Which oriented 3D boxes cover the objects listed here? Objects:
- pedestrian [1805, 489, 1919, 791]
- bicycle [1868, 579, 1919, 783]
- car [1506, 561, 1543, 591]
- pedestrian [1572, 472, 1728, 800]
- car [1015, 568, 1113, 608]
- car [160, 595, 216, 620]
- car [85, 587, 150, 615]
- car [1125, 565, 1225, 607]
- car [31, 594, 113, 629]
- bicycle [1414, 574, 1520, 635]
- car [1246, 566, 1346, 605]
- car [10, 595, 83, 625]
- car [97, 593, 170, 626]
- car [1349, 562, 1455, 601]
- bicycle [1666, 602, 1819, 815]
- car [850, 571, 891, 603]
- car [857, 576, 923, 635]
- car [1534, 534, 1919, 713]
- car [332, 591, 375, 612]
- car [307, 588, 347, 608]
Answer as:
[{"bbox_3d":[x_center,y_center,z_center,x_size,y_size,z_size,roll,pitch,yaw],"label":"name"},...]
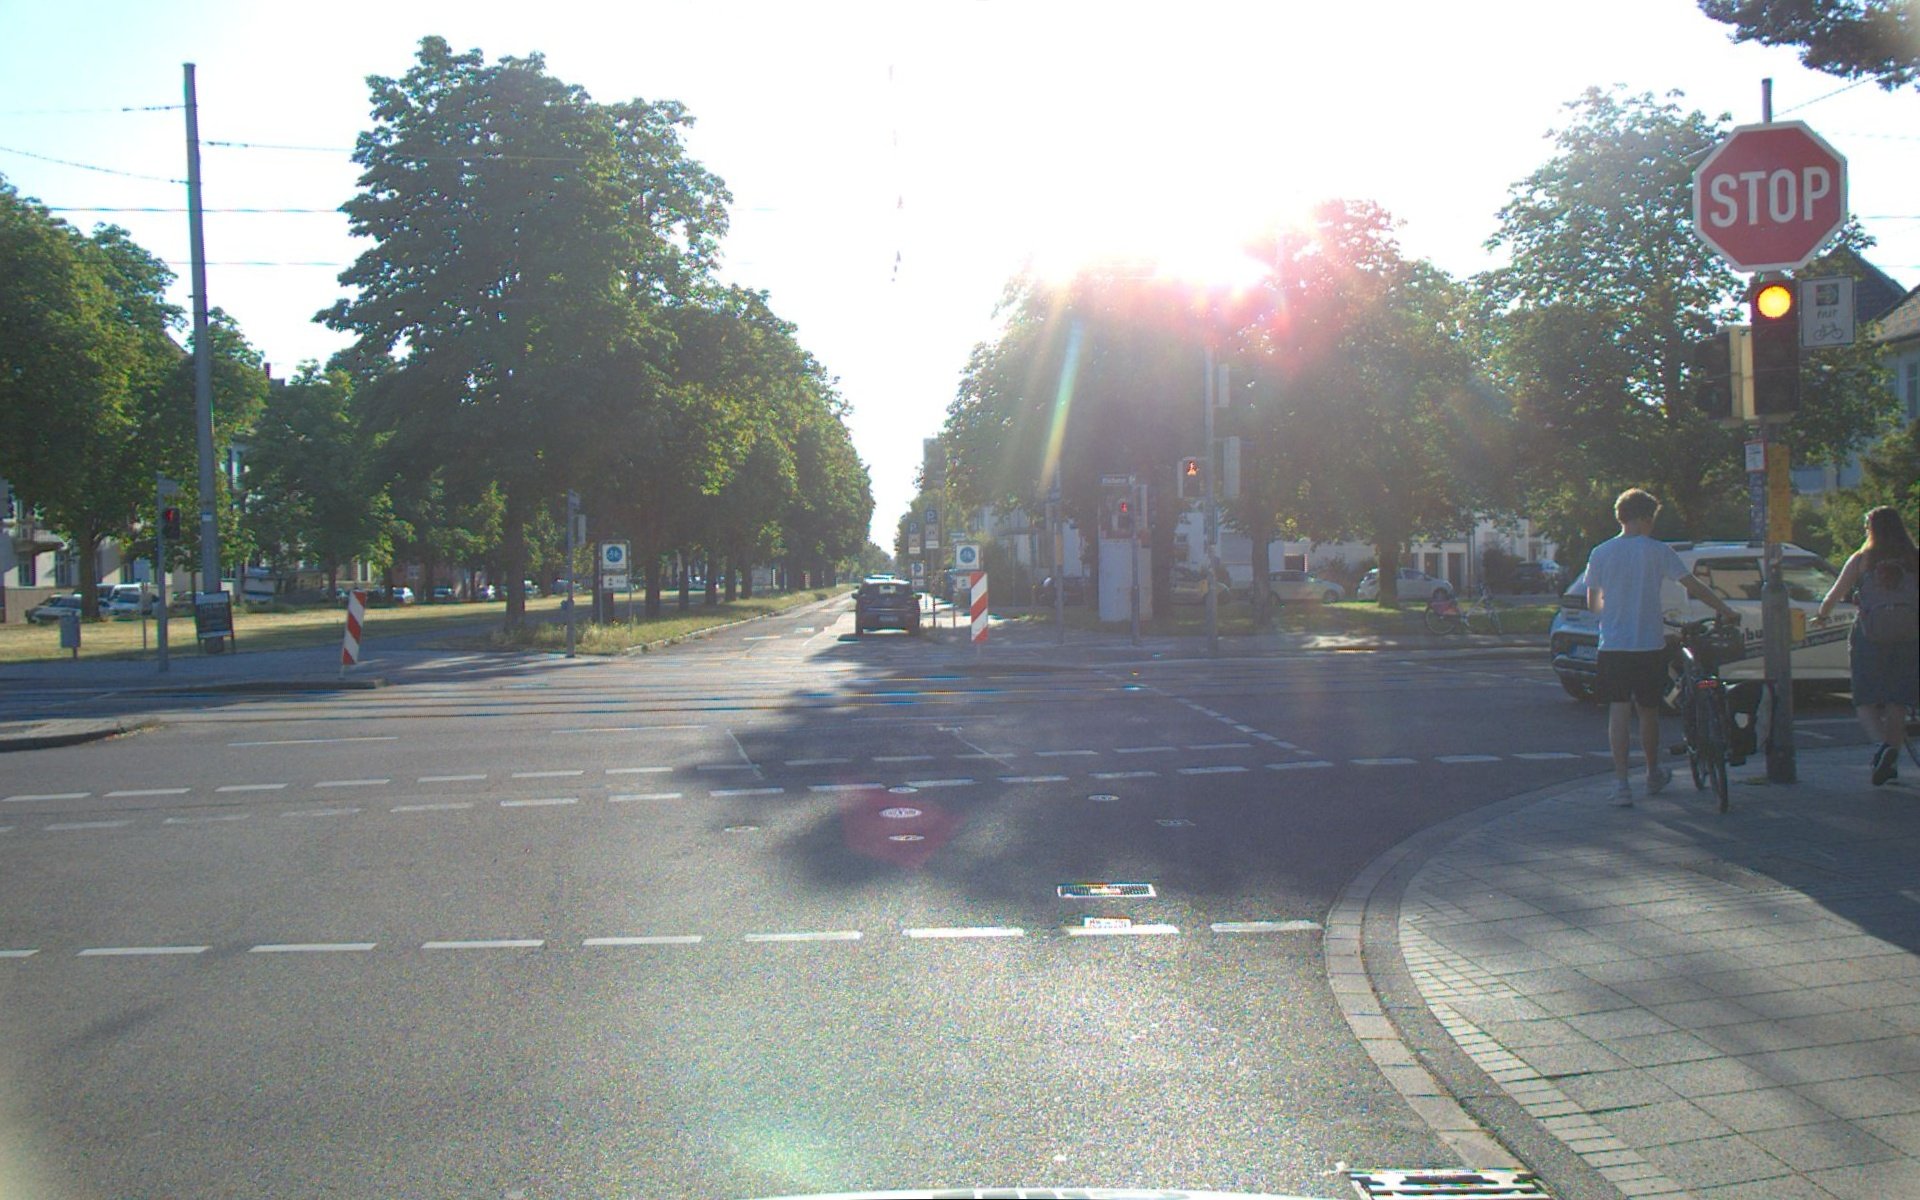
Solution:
[{"bbox_3d":[5.551,0.223,9.926,0.655,1.737,0.623,-4,1,17],"label":"pedestrian"},{"bbox_3d":[5.883,0.473,9.815,0.476,1.162,1.599,-3,1,16],"label":"bicycle"},{"bbox_3d":[28.839,-1.226,84.487,1.629,1.442,3.543,-1,1,21],"label":"car"},{"bbox_3d":[4.221,0.220,10.183,0.656,1.897,0.882,-4,-2,16],"label":"pedestrian"},{"bbox_3d":[4.066,-0.492,65.044,3.704,1.452,1.743,-1,2,-3],"label":"car"},{"bbox_3d":[-47.406,0.444,101.597,1.703,1.452,3.791,-1,1,-2],"label":"car"},{"bbox_3d":[-46.505,0.056,91.337,1.703,1.452,3.791,-1,1,-2],"label":"car"},{"bbox_3d":[8.480,-0.584,65.438,3.704,1.552,1.743,-1,2,-3],"label":"car"},{"bbox_3d":[-40.053,0.515,74.660,1.703,1.452,3.791,-1,1,-2],"label":"car"},{"bbox_3d":[10.114,0.085,32.997,1.914,1.152,0.620,-1,0,0],"label":"bicycle"},{"bbox_3d":[13.284,-0.586,65.456,3.593,1.452,1.529,-1,1,-7],"label":"car"},{"bbox_3d":[-47.029,0.490,85.239,1.703,1.452,3.791,-1,1,-2],"label":"car"},{"bbox_3d":[-40.320,0.444,80.752,1.703,1.452,3.792,-1,2,-2],"label":"car"},{"bbox_3d":[17.690,-0.741,66.296,3.772,1.452,1.595,-1,1,-7],"label":"car"},{"bbox_3d":[4.635,0.596,9.890,0.476,1.116,1.792,-3,0,16],"label":"bicycle"},{"bbox_3d":[-4.178,-0.632,77.715,1.808,1.418,3.828,0,1,-2],"label":"car"},{"bbox_3d":[-1.822,0.117,43.843,1.607,1.476,3.307,-1,1,0],"label":"car"},{"bbox_3d":[7.884,0.174,16.547,3.798,1.578,1.607,-2,3,-13],"label":"car"},{"bbox_3d":[-42.311,0.085,115.504,1.703,1.452,3.791,-1,1,-2],"label":"car"},{"bbox_3d":[-48.076,-0.180,125.663,1.703,1.452,3.791,-1,1,-2],"label":"car"}]
